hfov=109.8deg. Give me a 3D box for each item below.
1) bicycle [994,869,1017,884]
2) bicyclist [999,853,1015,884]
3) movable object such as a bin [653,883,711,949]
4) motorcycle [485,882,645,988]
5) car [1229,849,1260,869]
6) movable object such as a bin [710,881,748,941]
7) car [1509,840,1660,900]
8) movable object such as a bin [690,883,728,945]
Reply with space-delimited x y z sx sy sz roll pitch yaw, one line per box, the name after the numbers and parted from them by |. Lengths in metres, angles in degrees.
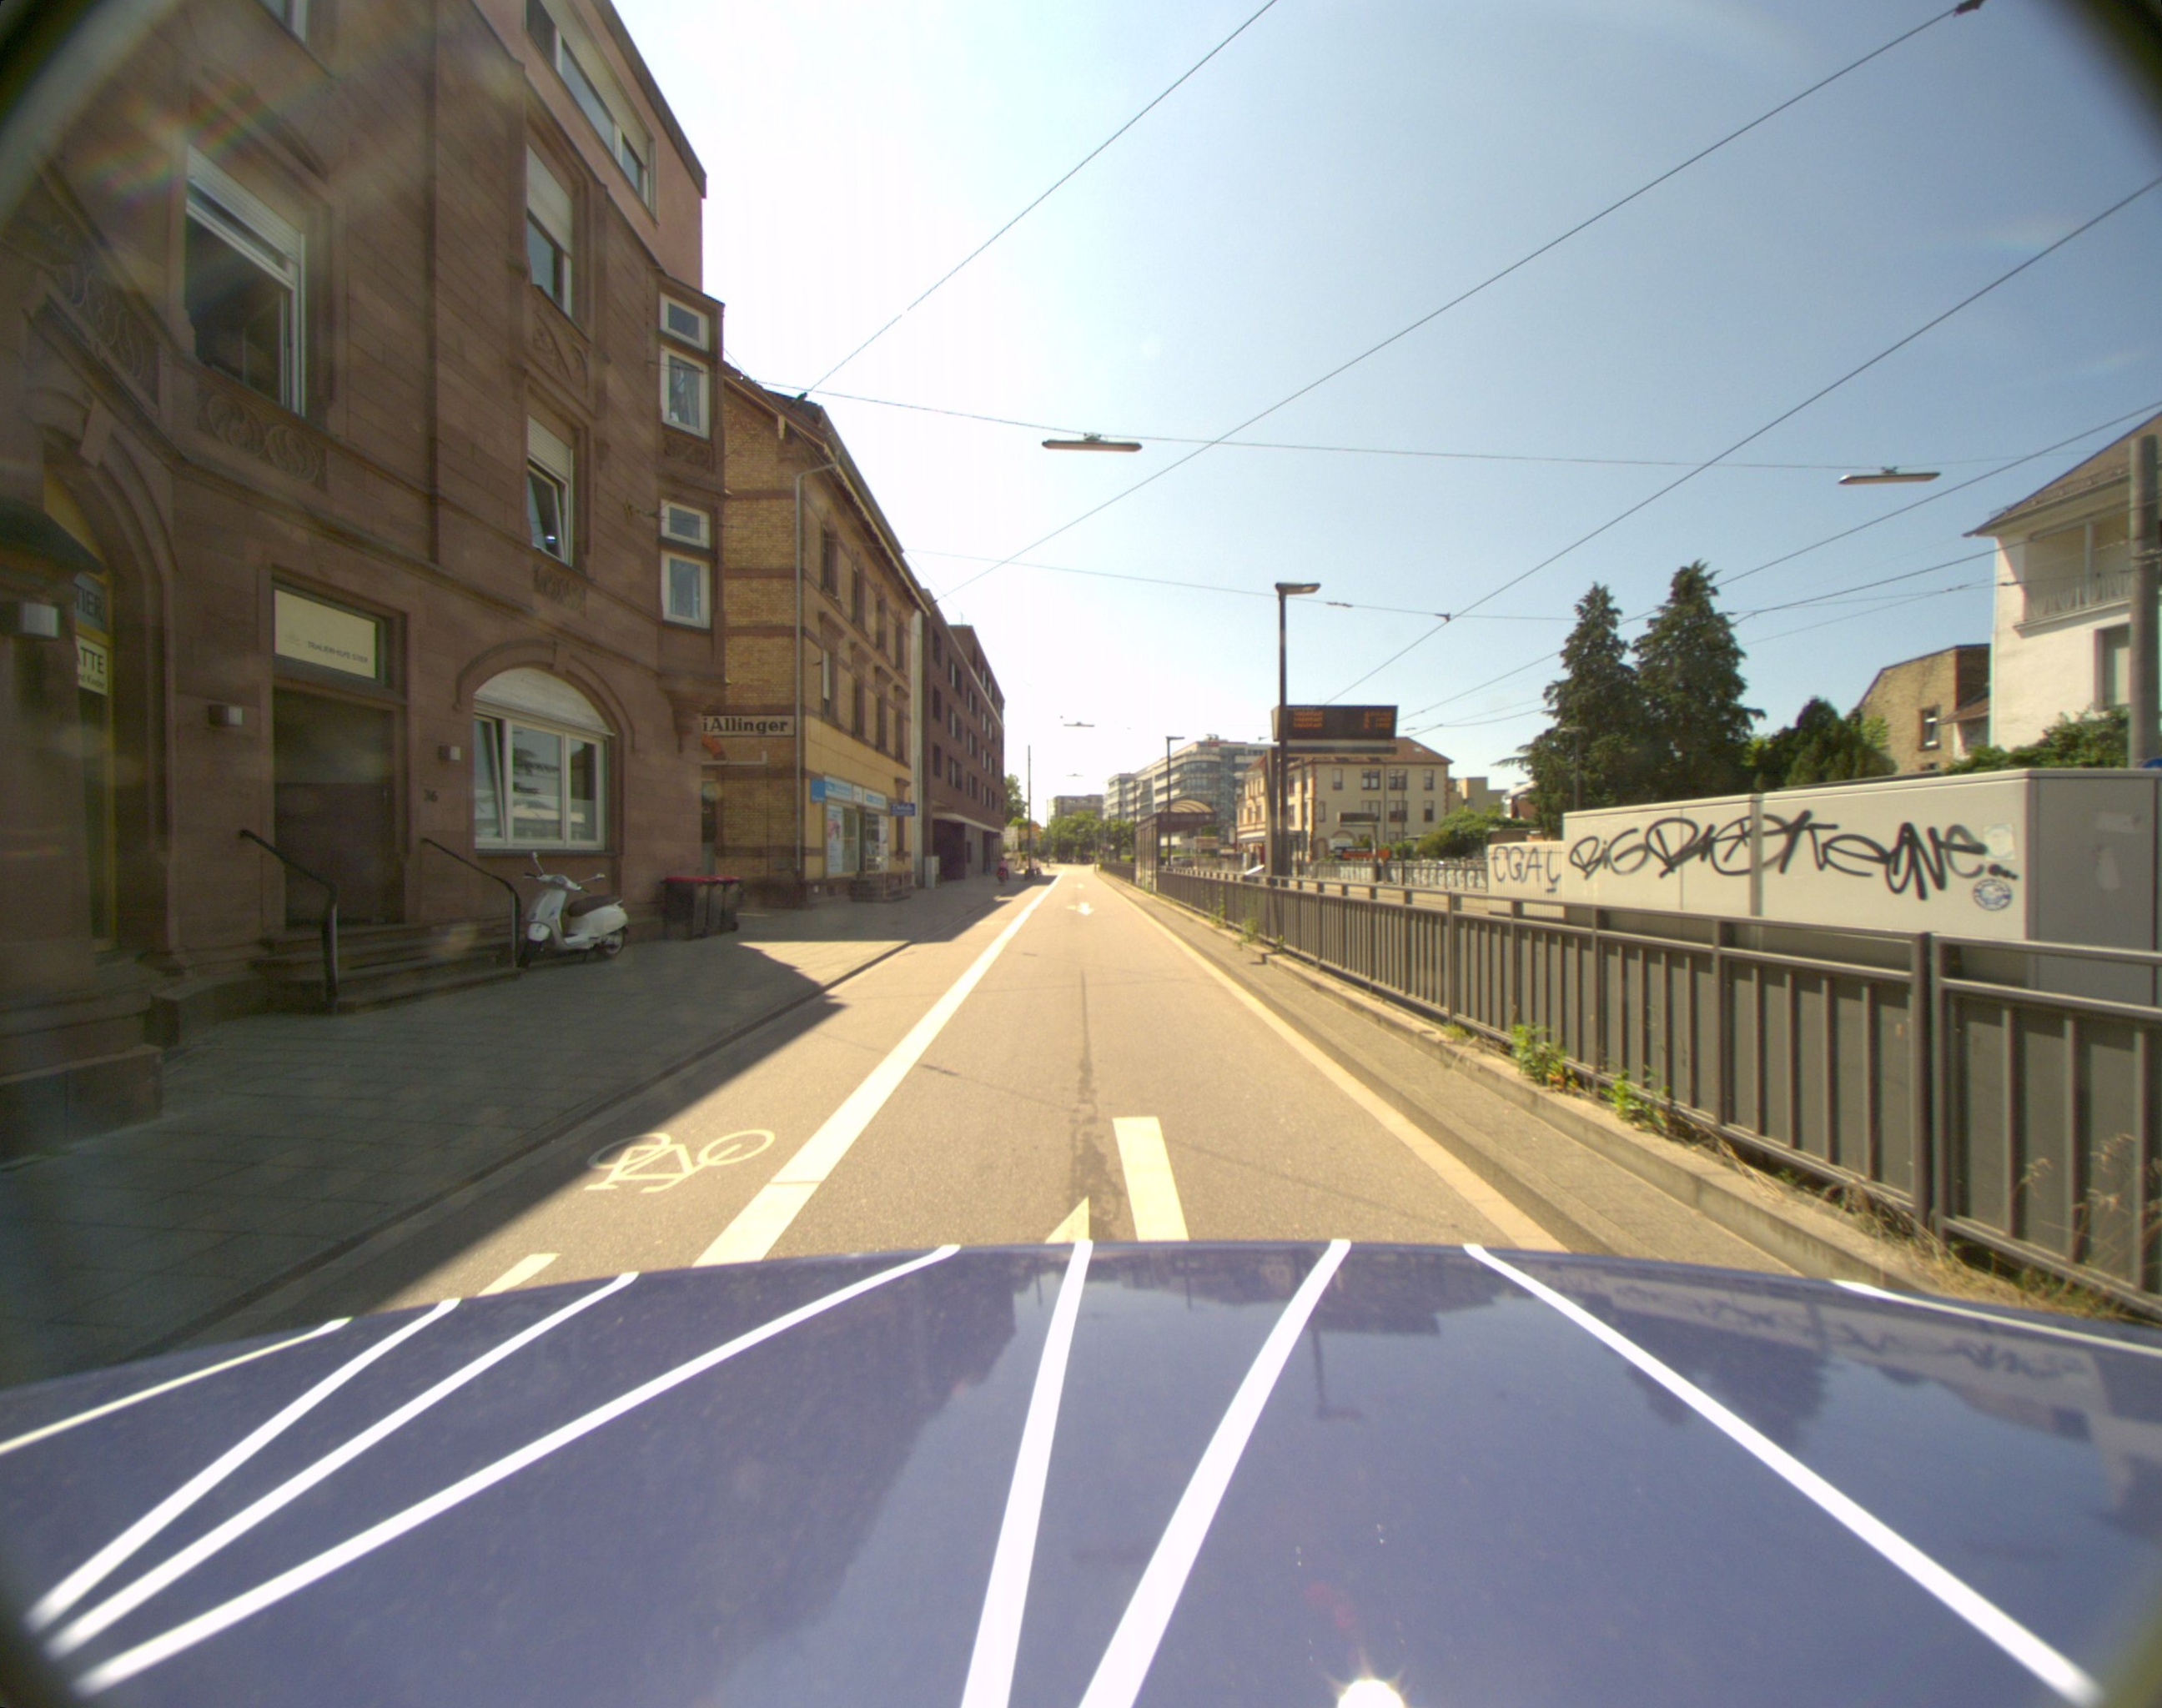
-4.281 1.289 43.265 0.689 0.793 1.910 -1 0 13 | bicycle
-4.236 0.821 43.500 0.671 1.712 0.929 0 0 13 | bicyclist
-6.686 1.027 12.764 0.649 1.042 0.559 2 1 -1 | movable object such as a bin
-6.441 0.960 9.627 0.527 1.142 1.881 0 0 8 | motorcycle
15.434 0.469 72.074 1.999 1.827 3.999 -1 0 -1 | car
-6.474 1.034 13.996 0.376 1.042 0.657 2 0 0 | movable object such as a bin
16.492 0.476 25.236 1.860 1.806 4.698 1 0 0 | car
-6.526 1.045 13.347 0.376 1.042 0.559 2 1 0 | movable object such as a bin
